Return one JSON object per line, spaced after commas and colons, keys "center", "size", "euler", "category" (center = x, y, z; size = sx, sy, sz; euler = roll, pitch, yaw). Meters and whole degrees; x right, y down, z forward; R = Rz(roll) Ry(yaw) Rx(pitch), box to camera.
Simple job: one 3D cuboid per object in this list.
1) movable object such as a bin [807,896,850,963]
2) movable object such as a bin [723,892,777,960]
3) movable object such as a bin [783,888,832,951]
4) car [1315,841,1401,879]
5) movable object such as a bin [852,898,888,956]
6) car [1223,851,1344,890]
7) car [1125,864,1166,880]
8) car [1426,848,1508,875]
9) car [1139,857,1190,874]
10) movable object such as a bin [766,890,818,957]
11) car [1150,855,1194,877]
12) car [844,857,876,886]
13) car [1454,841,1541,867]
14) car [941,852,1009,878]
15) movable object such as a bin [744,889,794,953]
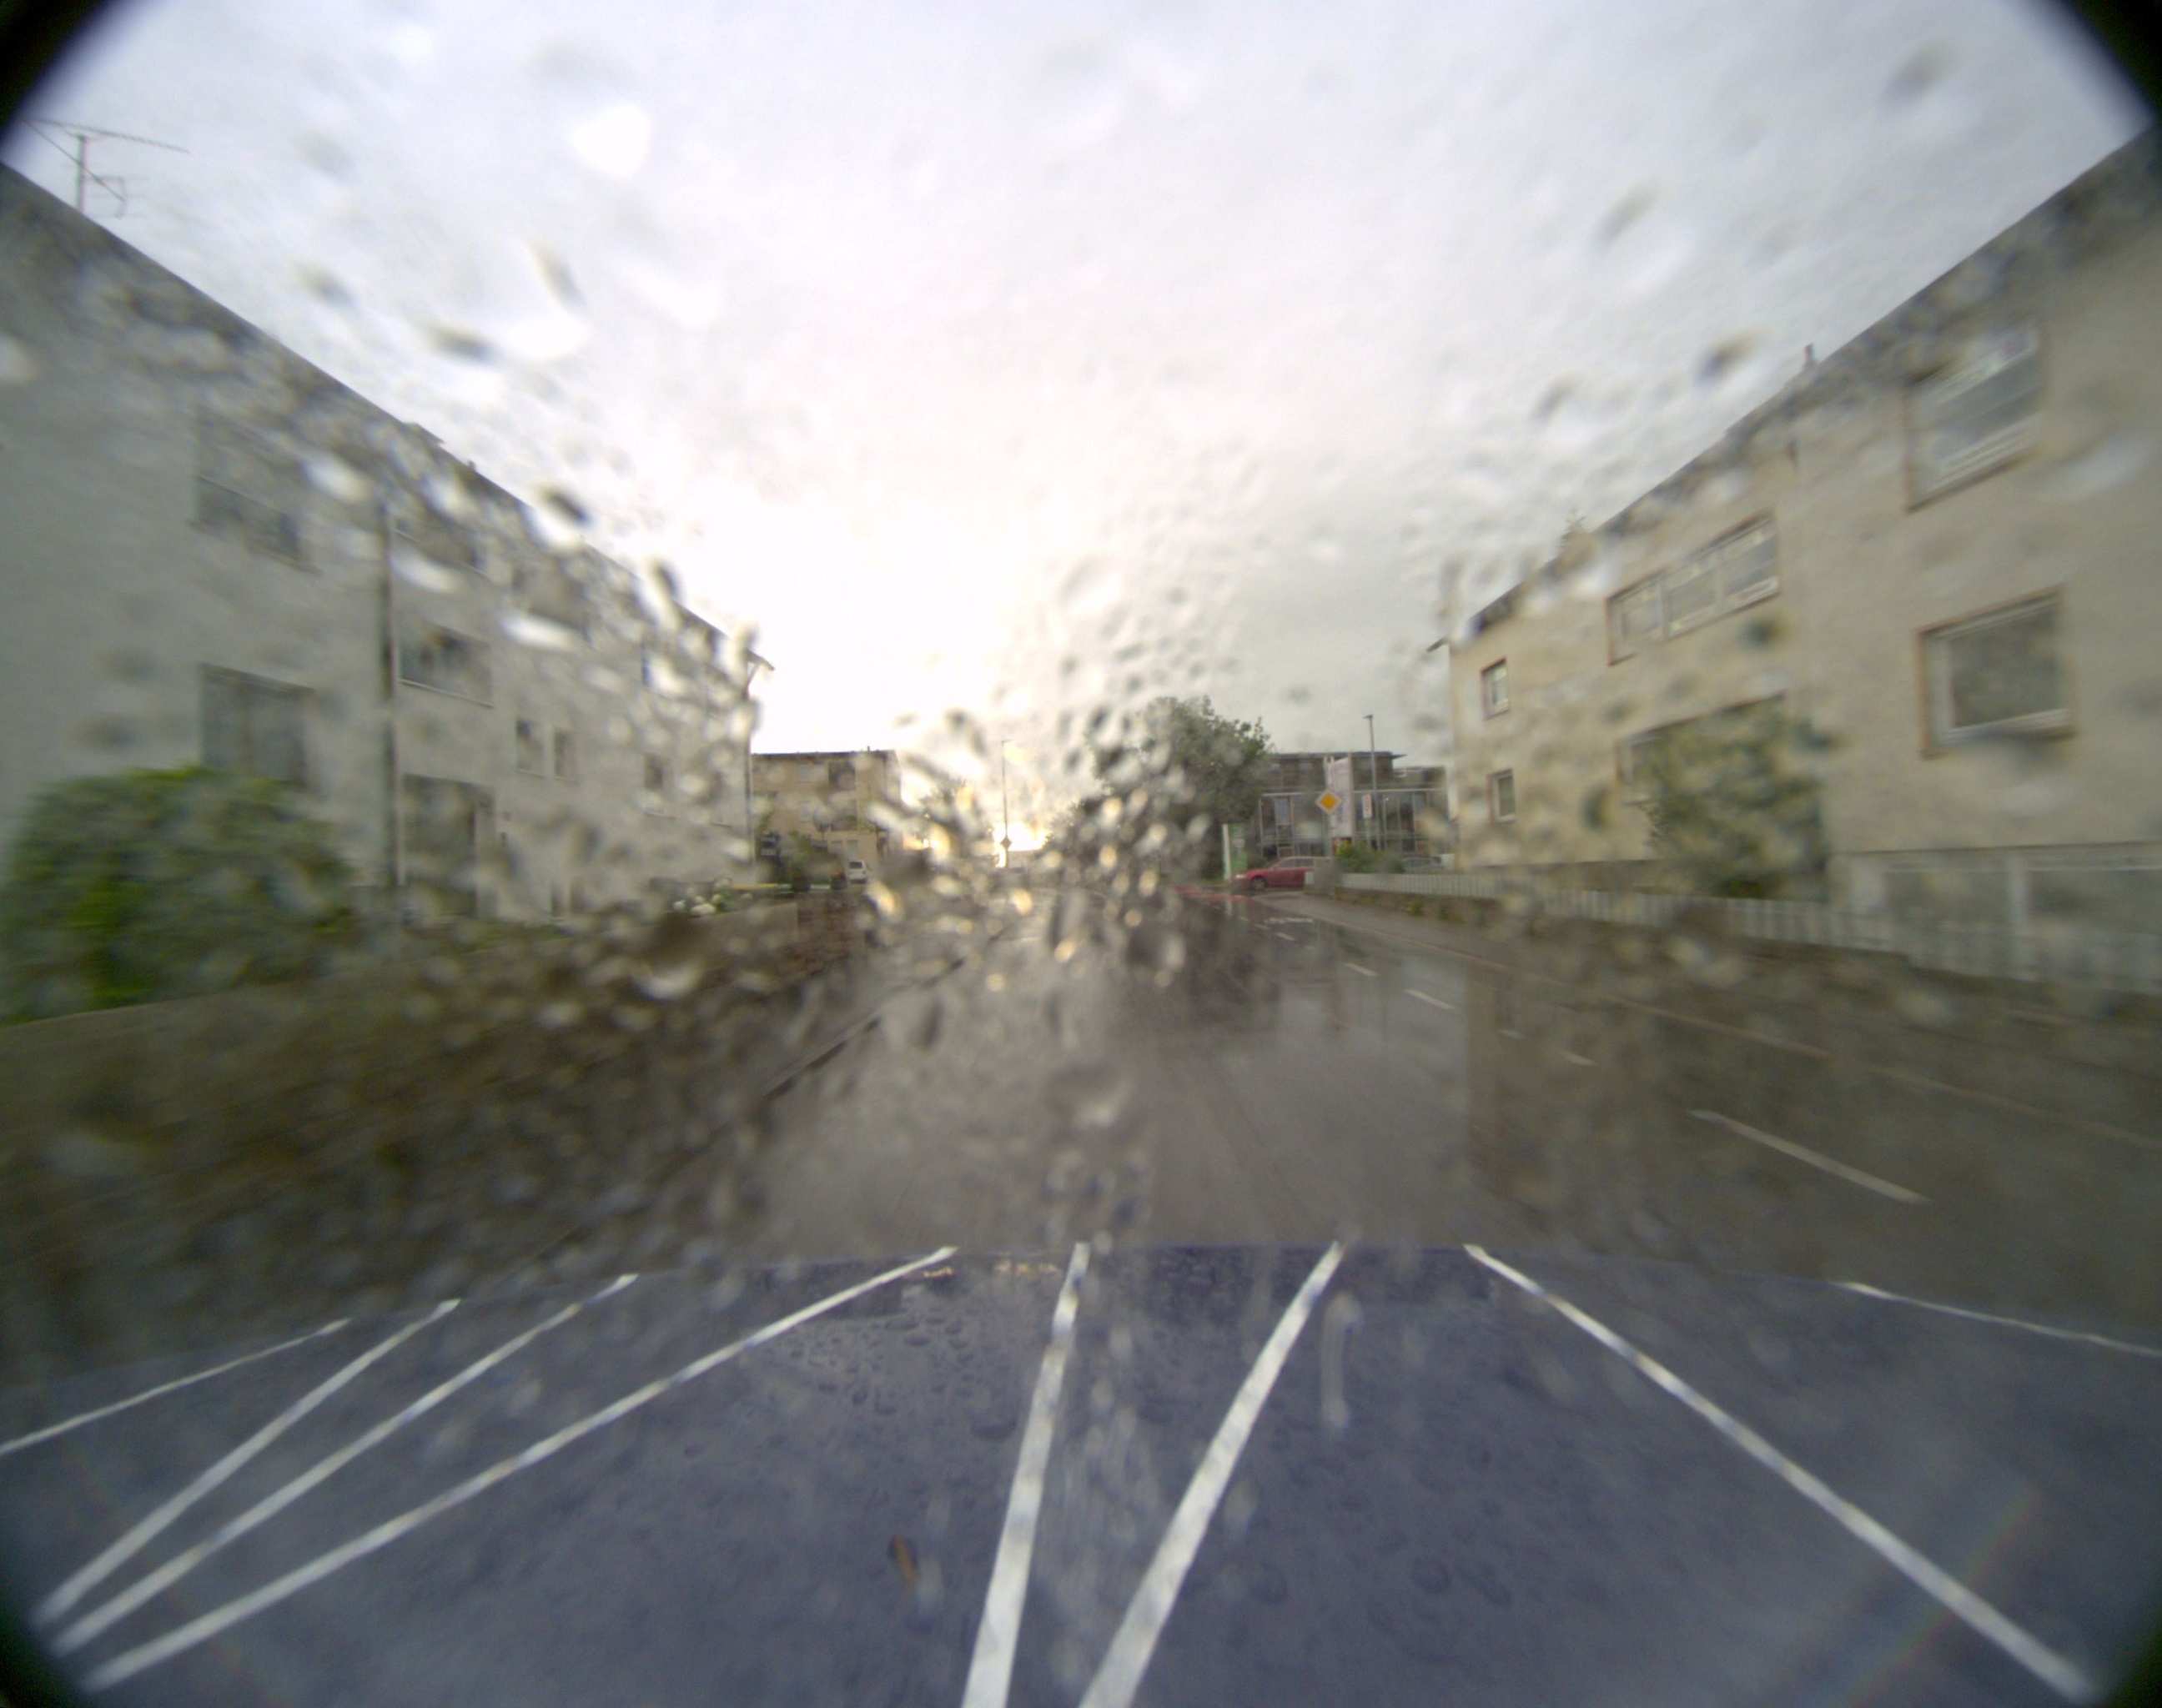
{"center": [-4.061, 1.199, 12.230], "size": [0.426, 1.021, 0.632], "euler": [-4, -2, -1], "category": "movable object such as a bin"}
{"center": [-5.322, 1.149, 12.226], "size": [0.546, 1.021, 0.632], "euler": [-4, -2, -1], "category": "movable object such as a bin"}
{"center": [-4.649, 1.102, 12.931], "size": [0.546, 1.021, 0.632], "euler": [-4, -2, -1], "category": "movable object such as a bin"}
{"center": [17.370, 0.412, 47.759], "size": [4.410, 2.001, 2.153], "euler": [-4, -3, -8], "category": "car"}
{"center": [-3.558, 1.221, 12.838], "size": [0.426, 0.934, 0.508], "euler": [-4, -2, -1], "category": "movable object such as a bin"}
{"center": [8.613, 0.710, 32.632], "size": [4.655, 1.558, 1.874], "euler": [-1, -1, -2], "category": "car"}
{"center": [5.000, 1.412, 59.249], "size": [2.917, 1.152, 1.471], "euler": [-1, -1, -6], "category": "car"}
{"center": [26.325, 0.522, 51.891], "size": [4.563, 1.780, 2.046], "euler": [-1, -1, -6], "category": "car"}
{"center": [6.912, 0.932, 62.737], "size": [3.912, 1.276, 1.581], "euler": [-1, -1, -6], "category": "car"}
{"center": [-4.641, 1.107, 12.236], "size": [0.546, 1.021, 0.632], "euler": [-4, -2, -1], "category": "movable object such as a bin"}
{"center": [6.484, 0.831, 54.362], "size": [2.917, 1.446, 1.252], "euler": [-1, 1, -6], "category": "car"}
{"center": [-17.417, 1.394, 60.041], "size": [1.800, 2.001, 4.600], "euler": [-4, -3, -10], "category": "car"}
{"center": [26.603, 0.010, 48.598], "size": [4.566, 1.558, 2.177], "euler": [-1, -1, -12], "category": "car"}
{"center": [-8.387, 0.901, 59.745], "size": [5.102, 1.908, 2.058], "euler": [-2, -1, 31], "category": "car"}
{"center": [-5.306, 1.124, 12.942], "size": [0.529, 1.021, 0.632], "euler": [-4, -2, -1], "category": "movable object such as a bin"}
